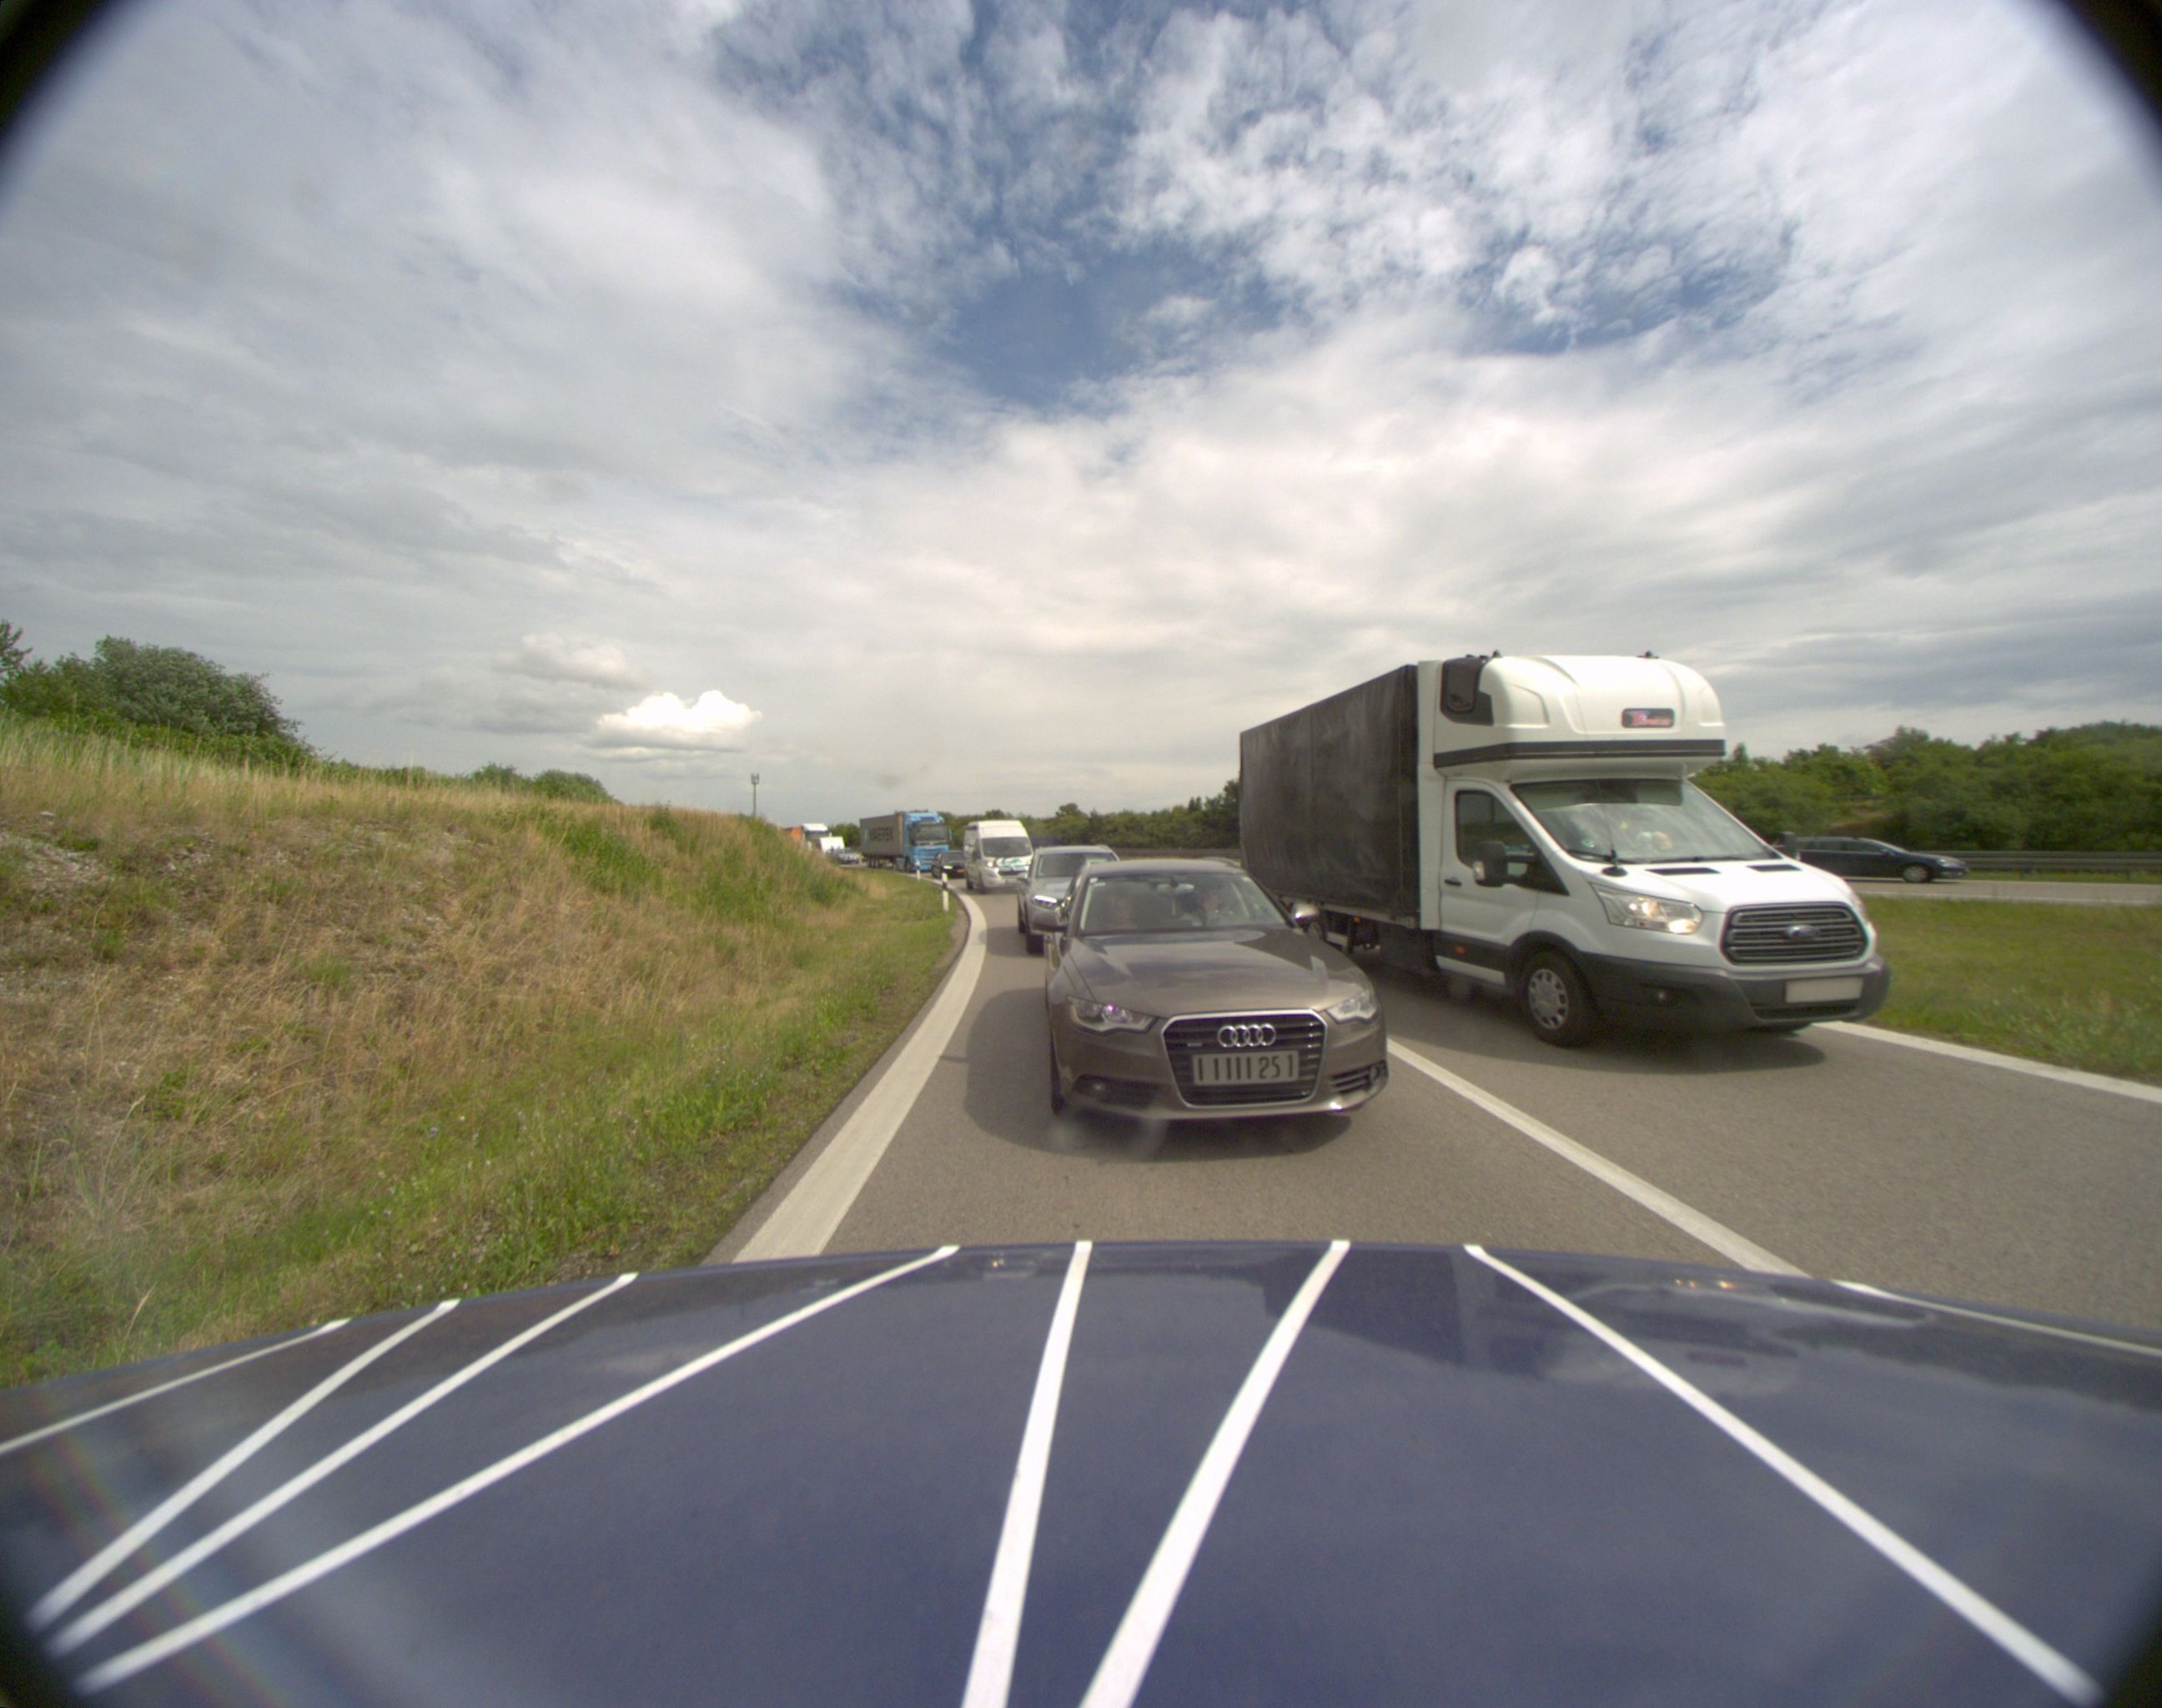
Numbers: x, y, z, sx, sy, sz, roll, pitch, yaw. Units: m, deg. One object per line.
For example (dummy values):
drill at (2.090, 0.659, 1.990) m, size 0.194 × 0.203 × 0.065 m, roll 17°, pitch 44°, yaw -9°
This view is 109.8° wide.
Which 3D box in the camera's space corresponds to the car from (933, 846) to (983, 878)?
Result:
car at (-6.742, 0.377, 41.296) m, size 2.002 × 1.609 × 3.992 m, roll -1°, pitch 1°, yaw -19°

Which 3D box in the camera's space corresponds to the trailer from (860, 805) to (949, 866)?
trailer at (-13.698, -1.227, 57.845) m, size 3.280 × 4.137 × 11.990 m, roll -3°, pitch 1°, yaw -29°

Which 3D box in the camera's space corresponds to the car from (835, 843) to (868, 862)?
car at (-21.113, -0.162, 69.766) m, size 2.003 × 1.521 × 3.990 m, roll -2°, pitch 2°, yaw -29°

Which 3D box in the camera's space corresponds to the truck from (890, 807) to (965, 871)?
truck at (-10.609, -0.978, 51.905) m, size 3.184 × 4.049 × 6.632 m, roll -3°, pitch 1°, yaw -27°

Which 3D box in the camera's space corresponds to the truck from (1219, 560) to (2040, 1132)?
truck at (3.931, -0.101, 8.052) m, size 2.568 × 3.149 × 7.462 m, roll -2°, pitch 1°, yaw -8°

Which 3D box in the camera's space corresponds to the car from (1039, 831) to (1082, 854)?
car at (-2.443, -1.315, 88.799) m, size 2.146 × 2.421 × 5.953 m, roll -3°, pitch 1°, yaw -34°

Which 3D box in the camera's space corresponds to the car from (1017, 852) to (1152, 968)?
car at (-0.108, 0.786, 12.901) m, size 1.843 × 1.587 × 4.171 m, roll -1°, pitch 1°, yaw -6°

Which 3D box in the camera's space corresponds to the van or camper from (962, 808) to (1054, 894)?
van or camper at (-2.929, -0.116, 28.901) m, size 2.401 × 2.892 × 5.712 m, roll -2°, pitch 1°, yaw -16°

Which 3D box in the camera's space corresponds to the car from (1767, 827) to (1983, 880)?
car at (26.335, -0.070, 25.391) m, size 2.003 × 1.590 × 4.715 m, roll -2°, pitch 2°, yaw -35°

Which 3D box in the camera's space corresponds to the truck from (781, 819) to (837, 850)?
truck at (-30.509, -2.098, 84.900) m, size 3.131 × 3.220 × 11.131 m, roll -2°, pitch 1°, yaw -34°

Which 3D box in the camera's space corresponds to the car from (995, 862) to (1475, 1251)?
car at (0.640, 0.882, 5.490) m, size 1.999 × 1.505 × 4.537 m, roll -2°, pitch 1°, yaw -1°

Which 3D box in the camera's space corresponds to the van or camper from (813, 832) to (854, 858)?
van or camper at (-24.449, -0.969, 74.818) m, size 2.557 × 2.200 × 5.693 m, roll -3°, pitch 5°, yaw -31°
